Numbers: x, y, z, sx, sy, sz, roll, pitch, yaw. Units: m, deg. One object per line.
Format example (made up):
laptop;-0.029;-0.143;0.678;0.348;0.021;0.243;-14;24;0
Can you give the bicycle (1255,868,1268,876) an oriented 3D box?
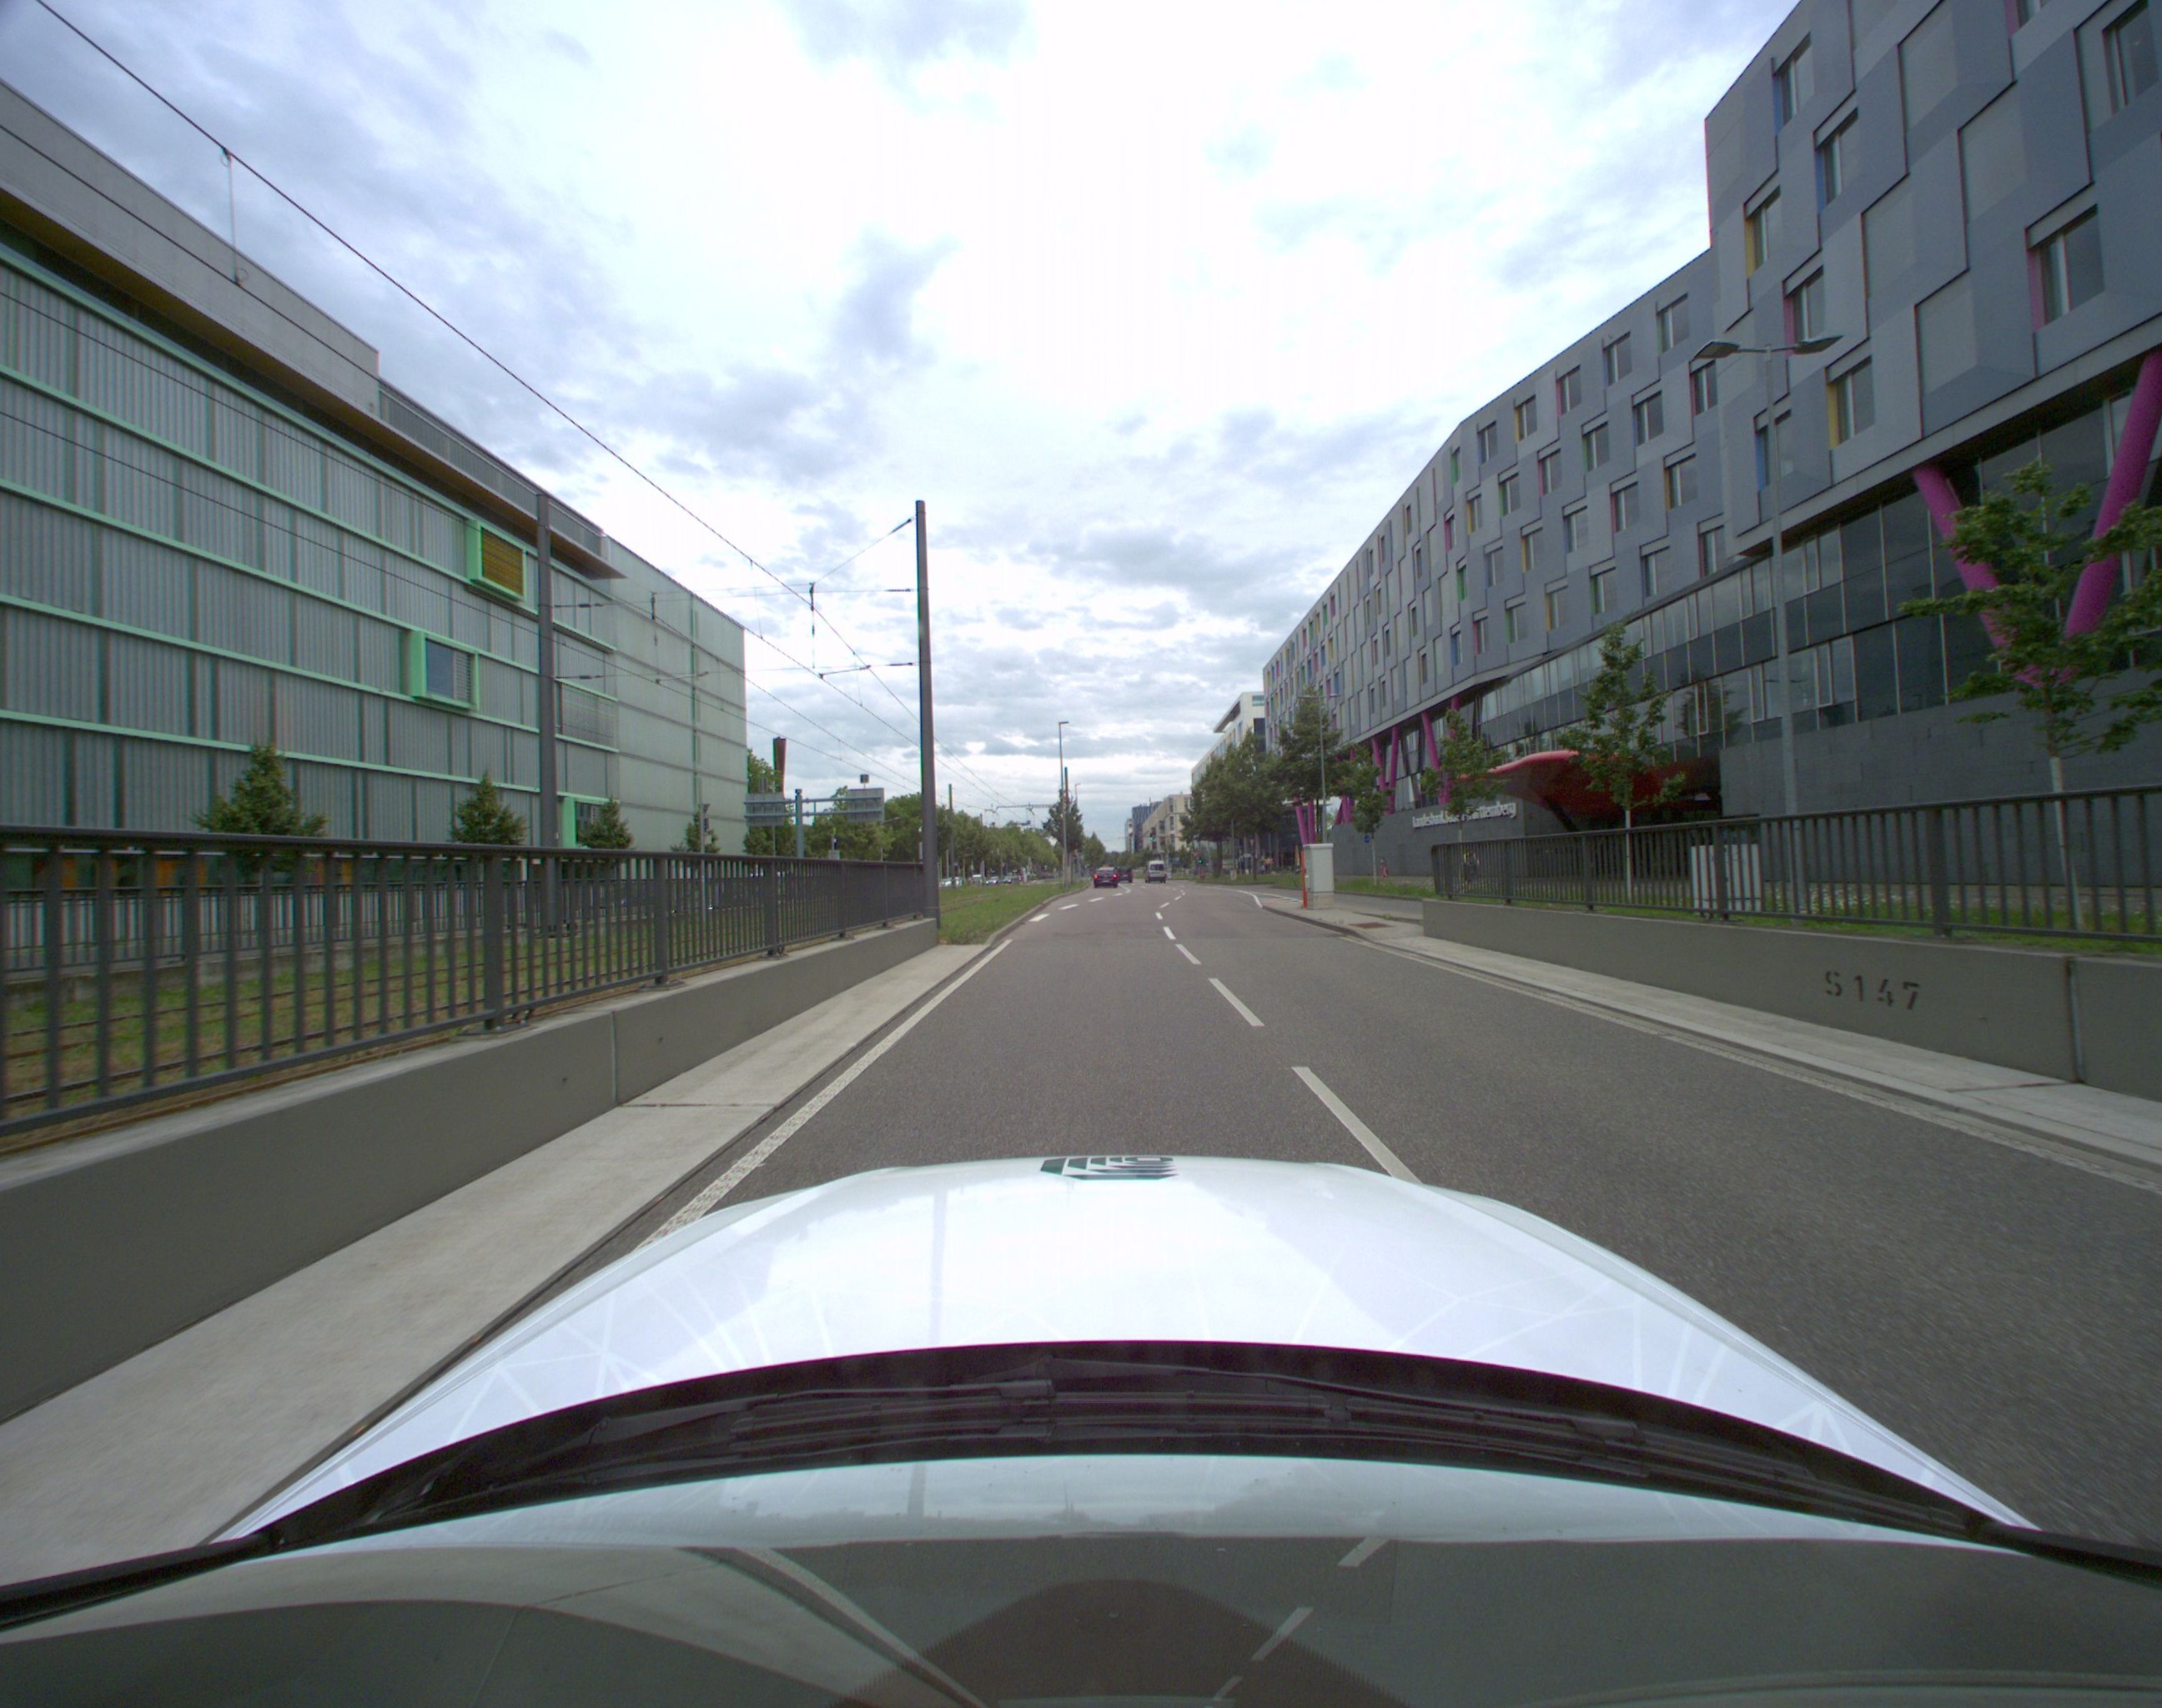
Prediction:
bicycle;27.270;2.683;123.062;1.784;1.085;0.618;-2;-2;3

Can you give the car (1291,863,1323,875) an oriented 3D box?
car;33.571;2.272;121.081;4.233;1.615;1.759;-2;-1;3

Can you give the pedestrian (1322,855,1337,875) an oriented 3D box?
pedestrian;22.670;0.978;74.319;1.047;1.770;1.137;-2;-1;2

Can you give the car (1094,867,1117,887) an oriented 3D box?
car;1.854;1.762;62.601;1.737;1.417;4.000;-1;-1;1

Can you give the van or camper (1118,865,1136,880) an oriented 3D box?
van or camper;5.386;2.213;96.176;1.986;1.615;4.791;-2;0;2

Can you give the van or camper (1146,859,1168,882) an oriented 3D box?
van or camper;8.503;1.794;91.444;2.101;2.356;4.926;-2;0;2

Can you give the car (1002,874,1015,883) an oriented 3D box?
car;-14.625;4.923;164.105;1.957;1.588;4.689;-1;-1;1

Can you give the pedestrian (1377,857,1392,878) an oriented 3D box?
pedestrian;23.252;1.006;62.409;0.781;1.583;0.915;-2;-1;2

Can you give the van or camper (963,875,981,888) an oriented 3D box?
van or camper;-16.821;4.183;125.793;1.883;1.900;5.123;-3;-1;0

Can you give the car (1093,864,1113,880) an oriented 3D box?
car;2.453;1.956;88.229;1.985;1.682;4.004;-1;-1;4

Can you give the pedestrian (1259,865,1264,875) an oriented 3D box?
pedestrian;27.244;2.424;123.071;0.612;1.604;0.619;-2;-2;4

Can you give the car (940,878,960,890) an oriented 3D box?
car;-17.465;4.024;109.076;1.756;1.479;4.573;-3;-1;1

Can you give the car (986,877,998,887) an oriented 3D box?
car;-15.335;4.781;140.794;1.724;1.445;4.916;-4;-1;-3
